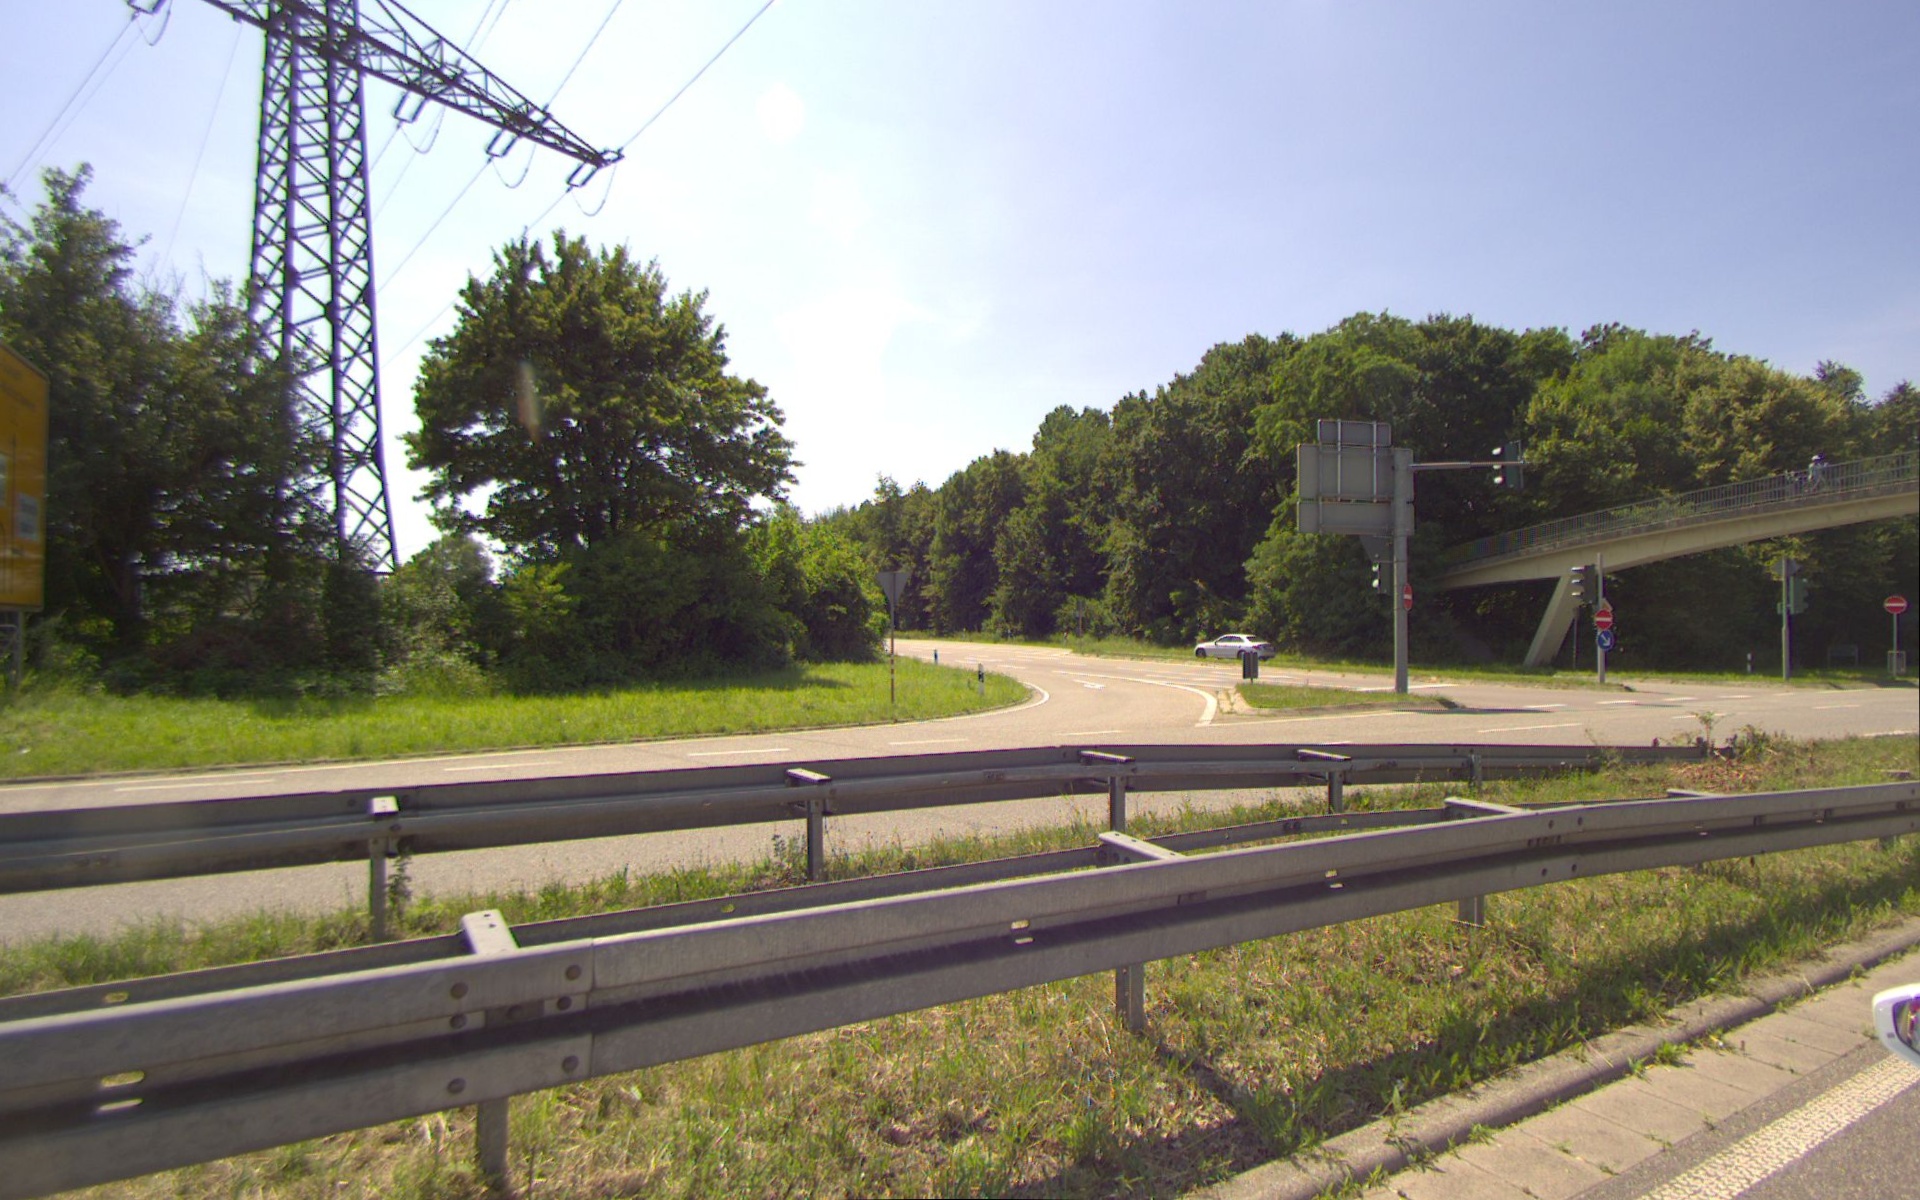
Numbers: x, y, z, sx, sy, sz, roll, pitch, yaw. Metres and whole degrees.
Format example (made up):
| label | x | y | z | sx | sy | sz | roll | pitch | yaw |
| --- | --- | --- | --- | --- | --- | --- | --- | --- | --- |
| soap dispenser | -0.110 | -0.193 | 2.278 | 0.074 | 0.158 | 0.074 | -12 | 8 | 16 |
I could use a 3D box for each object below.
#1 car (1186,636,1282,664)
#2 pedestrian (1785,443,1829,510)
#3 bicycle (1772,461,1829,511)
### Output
| label | x | y | z | sx | sy | sz | roll | pitch | yaw |
| --- | --- | --- | --- | --- | --- | --- | --- | --- | --- |
| car | 14.466 | 2.609 | 53.320 | 1.982 | 1.391 | 4.731 | 1 | -2 | -37 |
| pedestrian | 29.929 | -4.356 | 35.504 | 0.916 | 2.167 | 0.783 | 2 | -3 | -14 |
| bicycle | 29.668 | -4.023 | 35.485 | 0.462 | 1.493 | 1.528 | 2 | -3 | -14 |
